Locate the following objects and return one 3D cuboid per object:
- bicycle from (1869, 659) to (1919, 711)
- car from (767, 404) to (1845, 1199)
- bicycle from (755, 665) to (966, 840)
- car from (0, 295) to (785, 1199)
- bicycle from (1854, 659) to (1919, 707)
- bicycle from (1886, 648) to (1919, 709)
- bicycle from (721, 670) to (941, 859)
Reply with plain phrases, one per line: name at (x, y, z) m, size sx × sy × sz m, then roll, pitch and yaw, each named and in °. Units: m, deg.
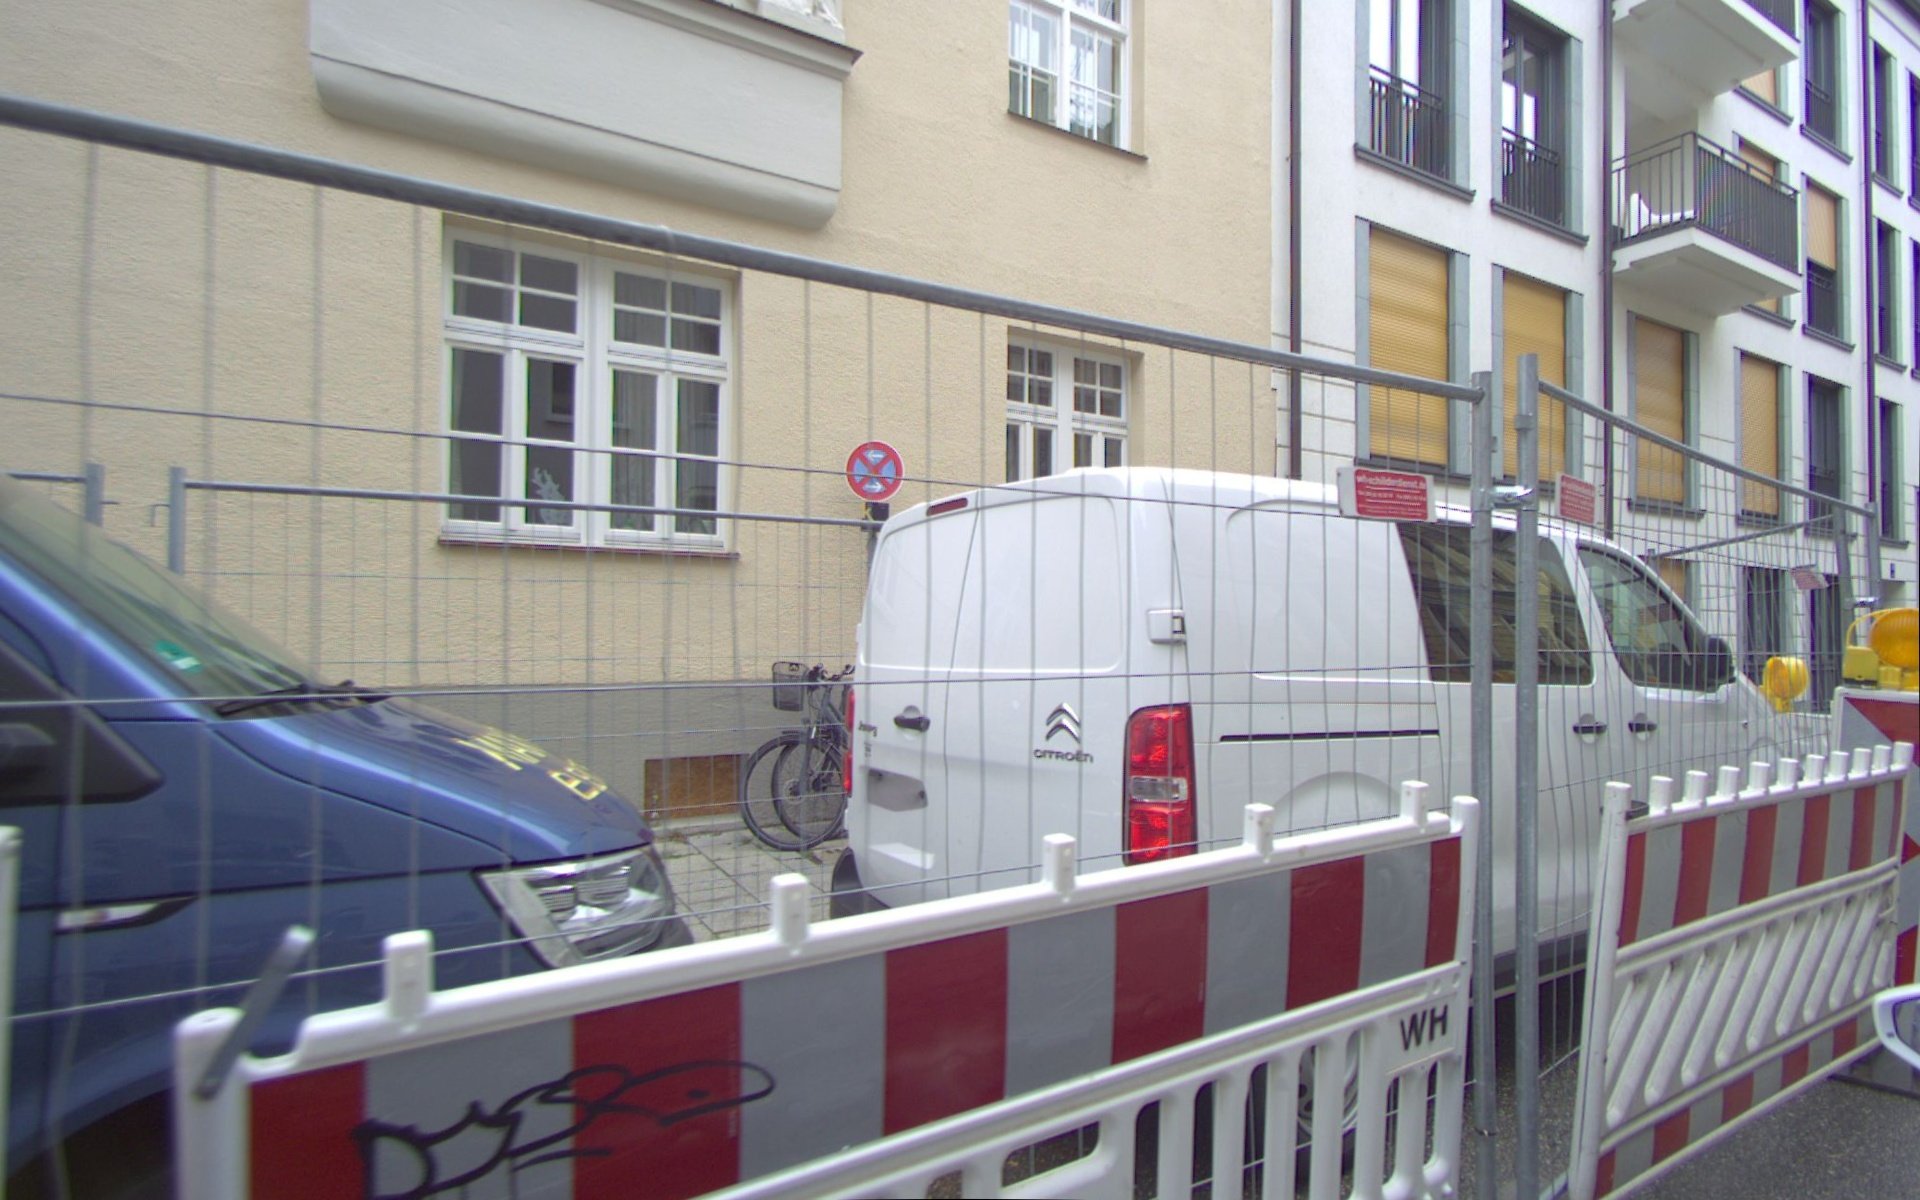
bicycle at (18.227, 1.627, 19.315) m, size 1.047 × 0.960 × 0.308 m, roll 0°, pitch 0°, yaw 26°
car at (1.881, 0.623, 4.428) m, size 5.038 × 1.922 × 1.892 m, roll 2°, pitch -2°, yaw -35°
bicycle at (-0.651, 0.996, 6.856) m, size 1.439 × 1.065 × 0.302 m, roll 1°, pitch 0°, yaw -33°
car at (-3.090, 0.547, 1.238) m, size 5.447 × 1.922 × 1.718 m, roll 2°, pitch -4°, yaw -32°
bicycle at (18.645, 1.646, 19.872) m, size 1.365 × 0.900 × 0.380 m, roll 0°, pitch 0°, yaw 26°
bicycle at (19.779, 1.587, 20.247) m, size 1.652 × 1.209 × 0.380 m, roll 0°, pitch 0°, yaw 13°
bicycle at (-0.794, 1.001, 6.398) m, size 1.376 × 1.065 × 0.302 m, roll 1°, pitch 0°, yaw -33°
